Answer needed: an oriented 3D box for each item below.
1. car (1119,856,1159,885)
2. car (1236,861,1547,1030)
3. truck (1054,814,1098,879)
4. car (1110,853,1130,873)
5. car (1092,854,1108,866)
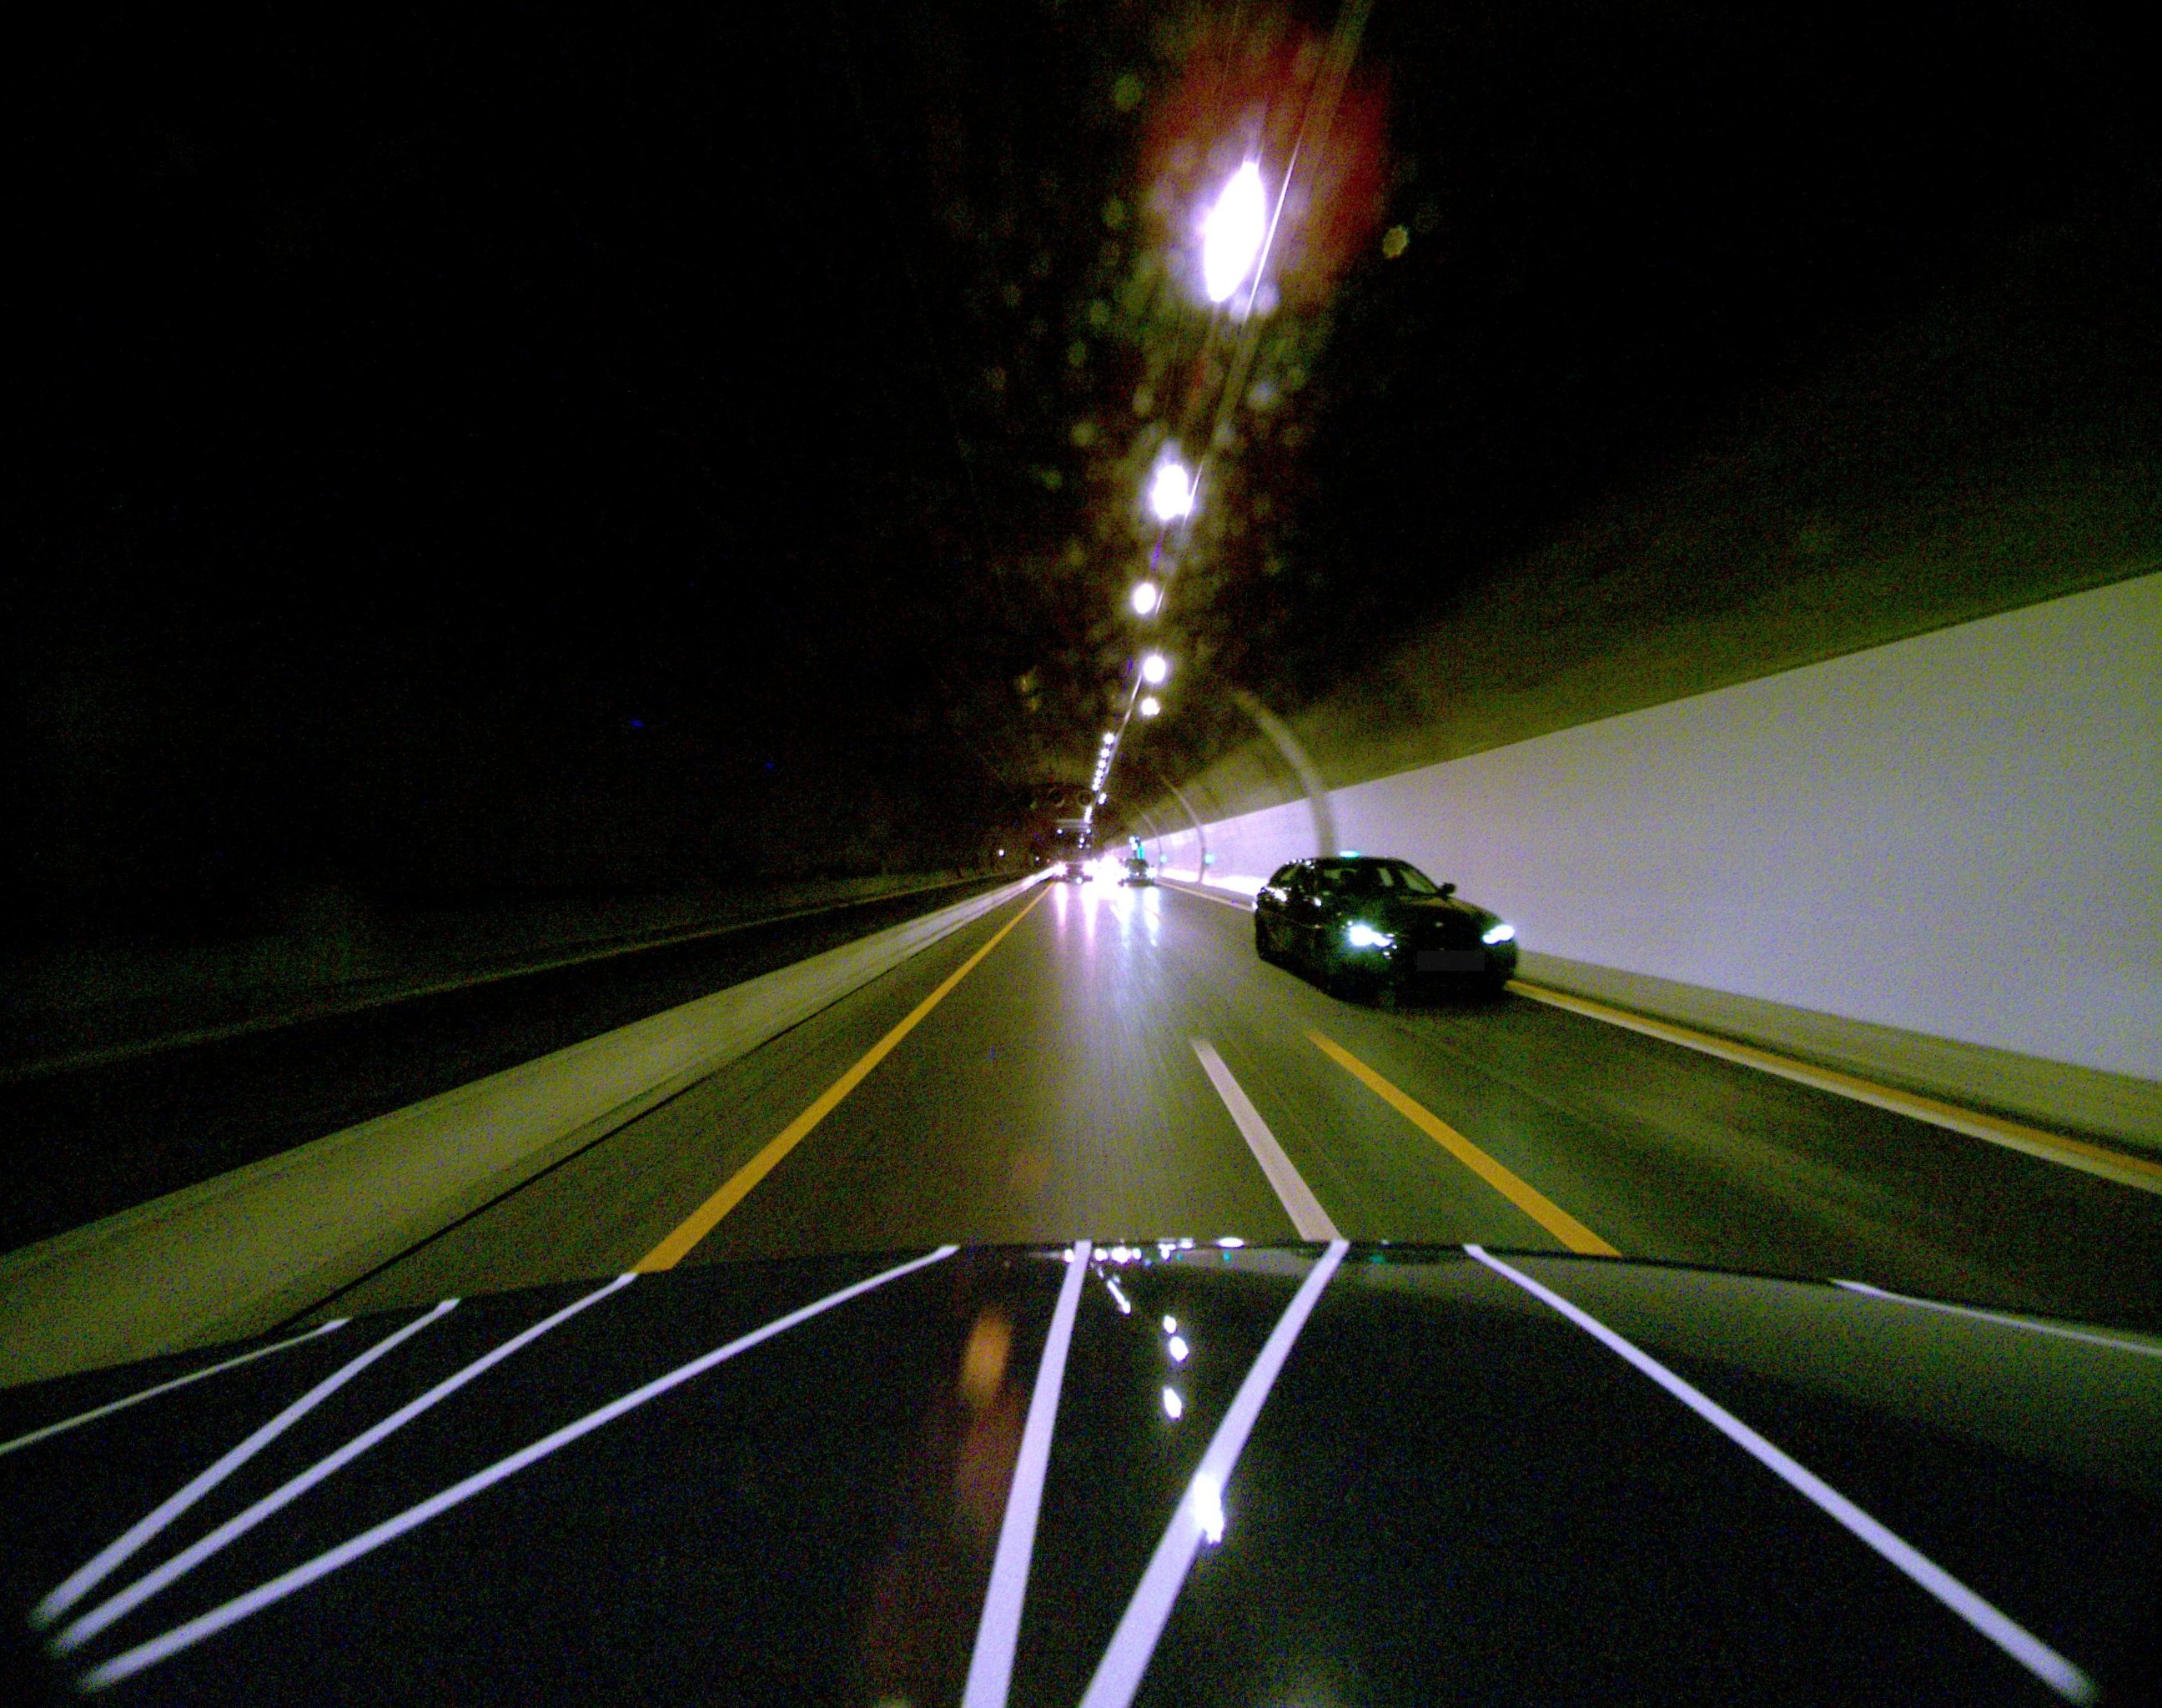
[{"bbox_3d":[3.073,0.845,41.335,1.782,1.430,4.882,-2,0,0],"label":"car"},{"bbox_3d":[3.346,0.858,9.391,1.782,1.430,4.882,-2,0,0],"label":"car"},{"bbox_3d":[-0.275,-0.495,53.110,2.742,4.127,8.100,-2,0,1],"label":"truck"},{"bbox_3d":[3.237,0.743,63.322,1.531,1.508,2.651,-2,0,1],"label":"car"},{"bbox_3d":[2.563,0.769,101.223,1.909,1.412,4.060,-2,0,-1],"label":"car"}]
